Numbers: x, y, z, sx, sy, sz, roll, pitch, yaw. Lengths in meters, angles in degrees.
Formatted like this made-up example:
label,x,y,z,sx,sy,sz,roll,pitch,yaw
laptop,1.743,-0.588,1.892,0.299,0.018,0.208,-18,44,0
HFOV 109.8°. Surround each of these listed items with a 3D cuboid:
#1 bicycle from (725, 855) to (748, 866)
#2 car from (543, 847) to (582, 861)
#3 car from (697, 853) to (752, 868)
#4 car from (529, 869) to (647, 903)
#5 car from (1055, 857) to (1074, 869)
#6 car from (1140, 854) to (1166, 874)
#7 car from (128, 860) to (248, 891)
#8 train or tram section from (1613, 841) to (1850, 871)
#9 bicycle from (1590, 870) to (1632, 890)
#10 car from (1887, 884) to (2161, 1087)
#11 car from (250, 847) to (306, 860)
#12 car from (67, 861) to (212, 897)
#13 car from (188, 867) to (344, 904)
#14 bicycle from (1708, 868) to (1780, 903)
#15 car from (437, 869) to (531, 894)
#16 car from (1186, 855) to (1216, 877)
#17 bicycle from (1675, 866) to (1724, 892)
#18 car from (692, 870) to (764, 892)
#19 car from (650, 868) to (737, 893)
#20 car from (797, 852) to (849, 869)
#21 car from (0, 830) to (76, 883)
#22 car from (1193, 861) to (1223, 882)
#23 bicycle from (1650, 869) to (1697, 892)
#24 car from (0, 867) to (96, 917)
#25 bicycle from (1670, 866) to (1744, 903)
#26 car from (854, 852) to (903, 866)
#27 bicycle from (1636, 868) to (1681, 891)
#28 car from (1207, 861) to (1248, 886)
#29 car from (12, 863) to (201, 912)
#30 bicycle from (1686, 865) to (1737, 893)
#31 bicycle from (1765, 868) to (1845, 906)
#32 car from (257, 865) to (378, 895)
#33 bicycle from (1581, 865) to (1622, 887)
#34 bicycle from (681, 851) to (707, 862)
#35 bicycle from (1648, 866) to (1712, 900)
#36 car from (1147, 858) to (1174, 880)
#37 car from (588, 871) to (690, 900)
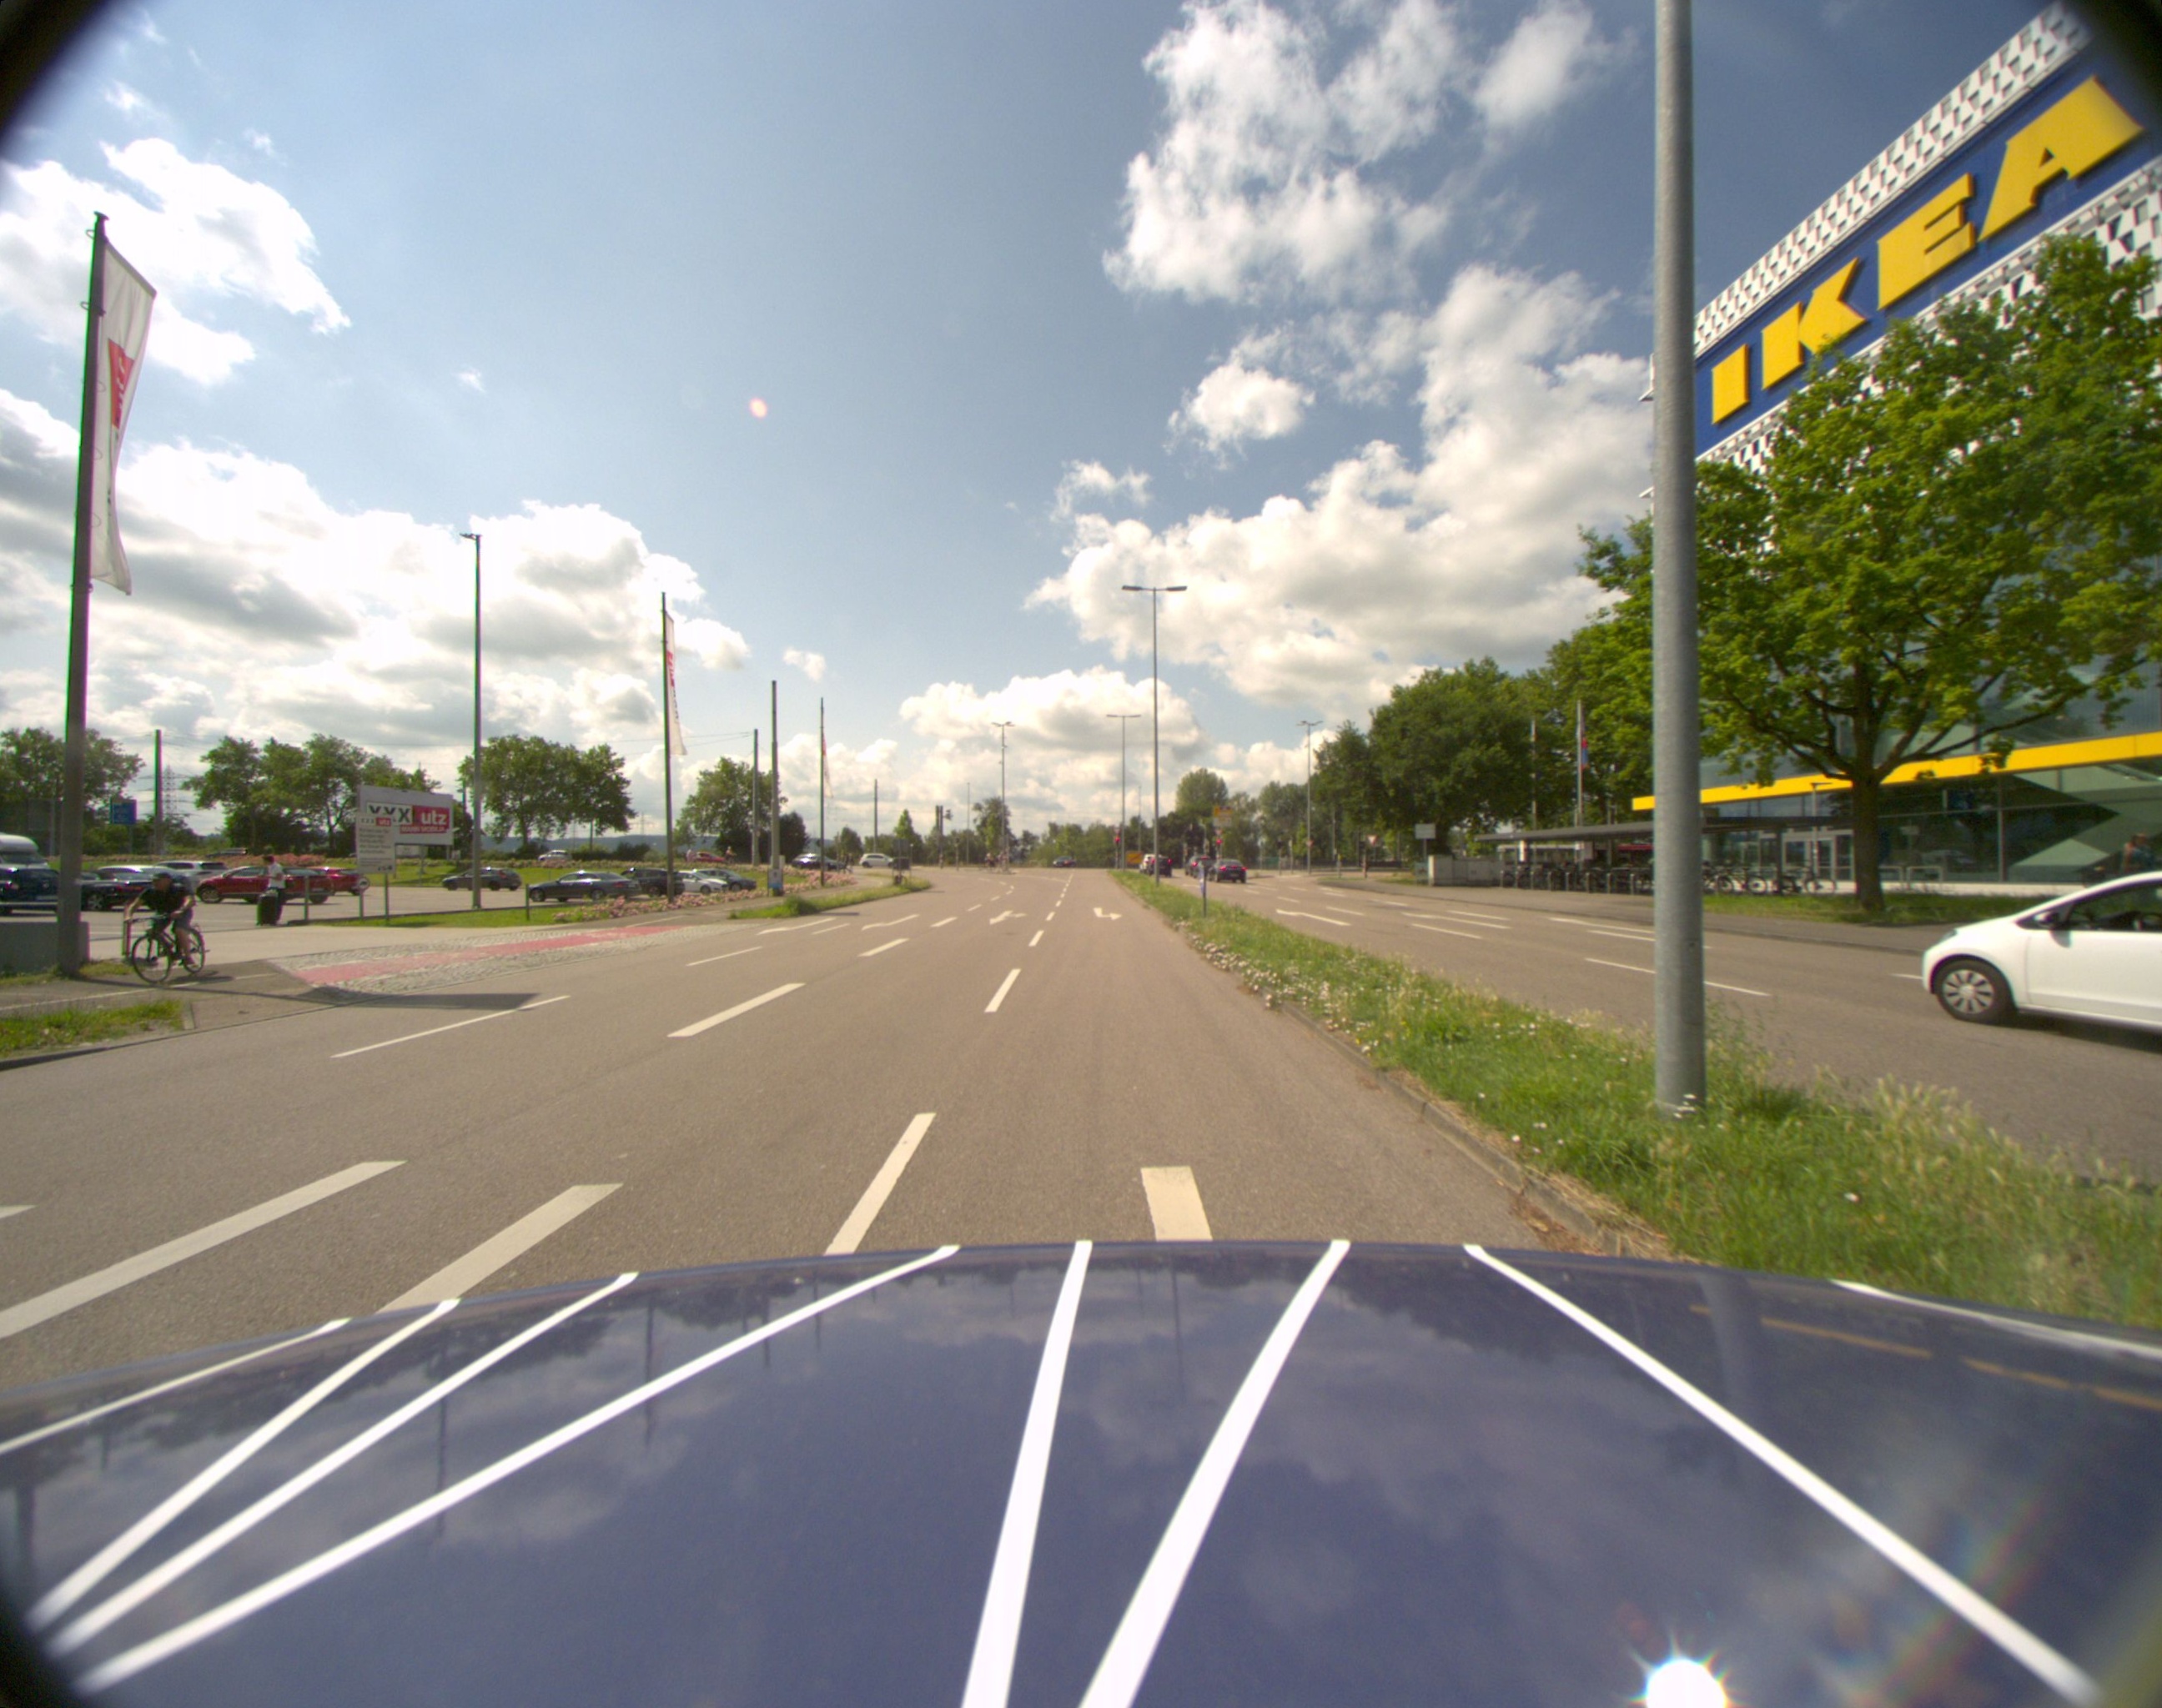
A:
label,x,y,z,sx,sy,sz,roll,pitch,yaw
bicycle,-30.036,0.594,66.170,1.695,0.955,0.666,-1,-1,1
car,-63.635,0.000,93.301,3.491,1.448,1.699,-3,2,-8
car,-33.158,0.587,70.774,4.249,1.352,1.748,1,0,-7
car,-23.208,1.492,35.844,4.369,1.468,1.857,-1,0,2
car,-1.918,1.057,86.938,1.796,1.311,4.164,-1,-1,4
car,5.977,0.820,63.841,1.712,1.610,4.377,2,0,0
car,-48.439,1.182,41.282,4.236,1.578,1.853,1,-1,-1
train or tram section,78.579,0.283,92.192,25.113,3.014,4.531,1,-1,-1
bicycle,28.726,1.411,41.178,1.939,1.064,0.529,0,0,-4
car,8.730,1.006,5.623,1.647,1.420,3.671,1,0,1
car,-101.371,-0.038,95.940,4.779,1.499,1.968,1,-3,-1
car,-38.607,1.037,31.206,4.033,1.354,1.603,1,-2,2
car,-32.883,1.284,30.731,4.369,1.354,1.848,1,-2,2
bicycle,23.041,1.089,26.439,1.930,1.172,0.630,-1,-1,0
car,-38.065,1.746,48.492,4.369,1.400,2.050,2,-2,2
car,9.741,0.966,61.783,1.775,1.606,3.999,2,1,0
bicycle,29.084,1.150,35.721,1.939,1.202,0.529,0,0,-4
car,-23.507,1.762,50.662,3.997,1.410,1.715,0,0,-1
car,-23.364,1.568,45.920,4.369,1.431,1.797,0,0,1
car,-23.372,0.577,68.885,4.192,1.474,1.919,1,1,20
car,-67.723,0.132,46.792,7.897,3.136,3.123,0,0,3
car,8.948,1.191,53.685,1.415,1.383,4.096,2,0,1
bicycle,29.058,1.301,37.257,1.939,1.064,0.529,0,0,-4
car,-33.346,1.134,23.260,4.369,1.433,1.627,1,-2,2
bicycle,20.876,1.014,25.347,1.930,1.176,0.630,-1,-1,0
car,-20.752,0.527,78.029,4.495,1.404,2.014,1,0,-2
bicycle,29.039,1.282,38.228,1.935,1.083,0.520,-1,-1,-3
car,9.157,1.167,47.872,1.668,1.413,4.519,2,0,0
car,-33.009,1.106,25.811,4.369,1.499,1.682,1,0,2
bicycle,29.082,1.146,35.048,1.950,1.236,0.597,0,0,-4
bicycle,23.137,1.044,24.300,1.930,1.176,0.630,-1,-1,0
car,-38.789,1.310,38.658,4.369,1.418,1.848,1,-2,2
bicycle,28.639,1.220,41.830,1.961,1.165,0.468,-1,-1,-4
bicycle,-33.784,0.226,66.407,1.985,0.955,0.597,-1,-1,4
bicycle,23.029,1.107,29.221,1.930,1.265,0.630,-1,-1,0
car,5.908,1.086,56.799,1.608,1.484,4.132,2,0,0
car,-23.640,1.686,40.726,4.369,1.408,1.857,-1,0,1
